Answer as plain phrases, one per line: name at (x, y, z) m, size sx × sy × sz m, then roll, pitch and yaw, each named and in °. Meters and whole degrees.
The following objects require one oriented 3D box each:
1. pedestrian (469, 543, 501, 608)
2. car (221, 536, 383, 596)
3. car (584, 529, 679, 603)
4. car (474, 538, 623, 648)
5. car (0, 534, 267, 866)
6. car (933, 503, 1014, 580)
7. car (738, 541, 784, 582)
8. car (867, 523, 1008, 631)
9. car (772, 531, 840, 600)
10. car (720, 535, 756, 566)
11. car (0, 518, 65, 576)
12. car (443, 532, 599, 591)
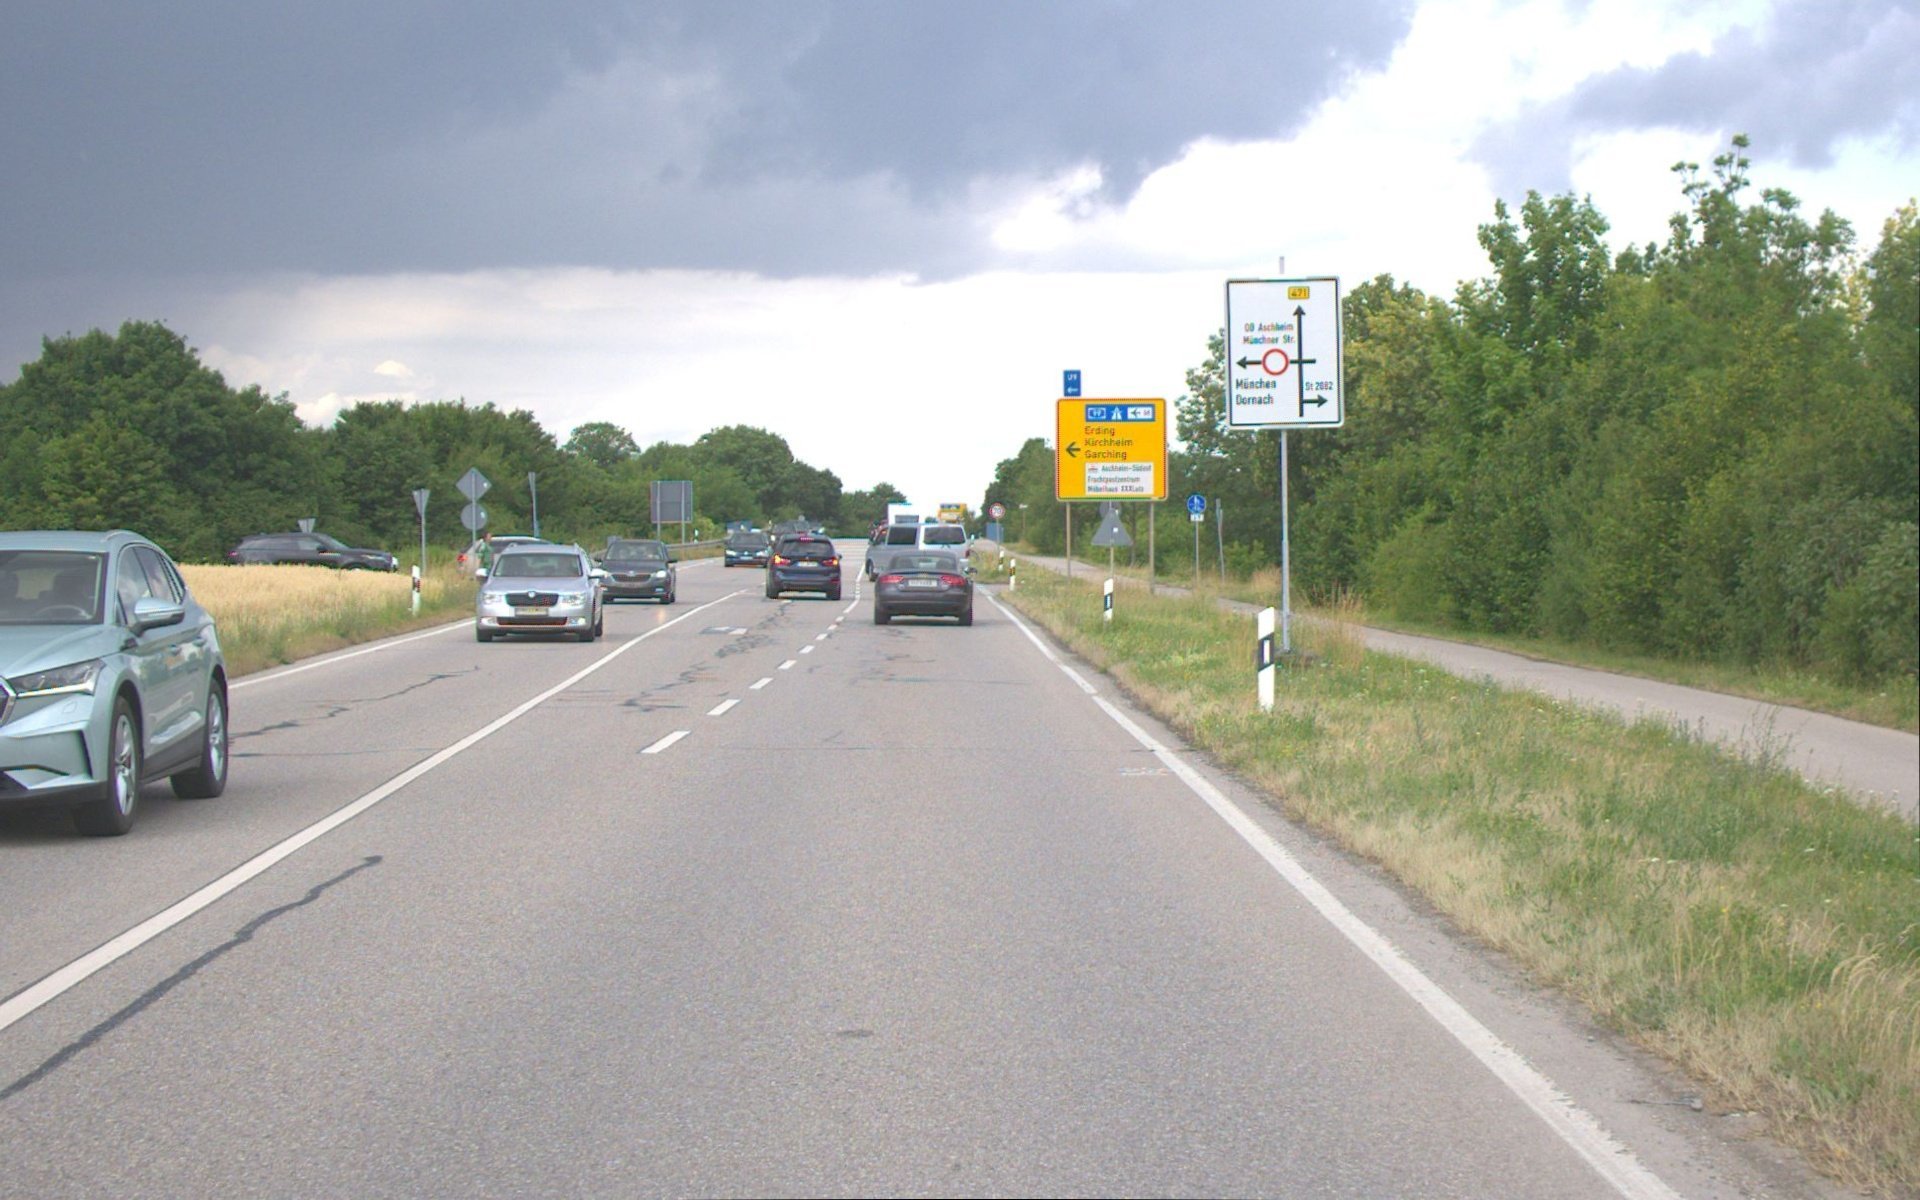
pedestrian at (-11.558, -0.605, 83.617) m, size 0.367 × 1.570 × 0.702 m, roll 0°, pitch 1°, yaw 35°
car at (-18.868, -0.989, 98.719) m, size 4.412 × 1.643 × 1.502 m, roll -1°, pitch 1°, yaw -4°
car at (-7.501, -0.799, 78.830) m, size 1.853 × 1.624 × 4.000 m, roll 0°, pitch 1°, yaw -1°
car at (-6.337, -0.145, 53.402) m, size 1.767 × 1.596 × 4.931 m, roll 0°, pitch 1°, yaw -1°
car at (-5.333, 0.467, 19.027) m, size 2.064 × 1.575 × 4.766 m, roll -2°, pitch 1°, yaw -1°
car at (0.462, -1.932, 112.703) m, size 1.999 × 2.443 × 4.850 m, roll 0°, pitch 1°, yaw 8°
car at (-7.957, -1.550, 137.822) m, size 1.646 × 1.585 × 4.000 m, roll -1°, pitch 1°, yaw 0°
car at (-0.473, -0.464, 64.876) m, size 2.371 × 1.874 × 4.478 m, roll -2°, pitch 1°, yaw -3°
car at (-3.852, -0.884, 86.551) m, size 1.571 × 1.695 × 4.000 m, roll 0°, pitch 1°, yaw -1°
car at (-11.661, -2.601, 181.027) m, size 1.646 × 1.585 × 4.000 m, roll -1°, pitch 1°, yaw 0°
car at (-28.992, -1.531, 100.179) m, size 5.309 × 1.643 × 1.866 m, roll -1°, pitch 1°, yaw 4°
car at (-12.658, -1.113, 99.296) m, size 4.412 × 1.643 × 1.502 m, roll -1°, pitch 1°, yaw -5°
